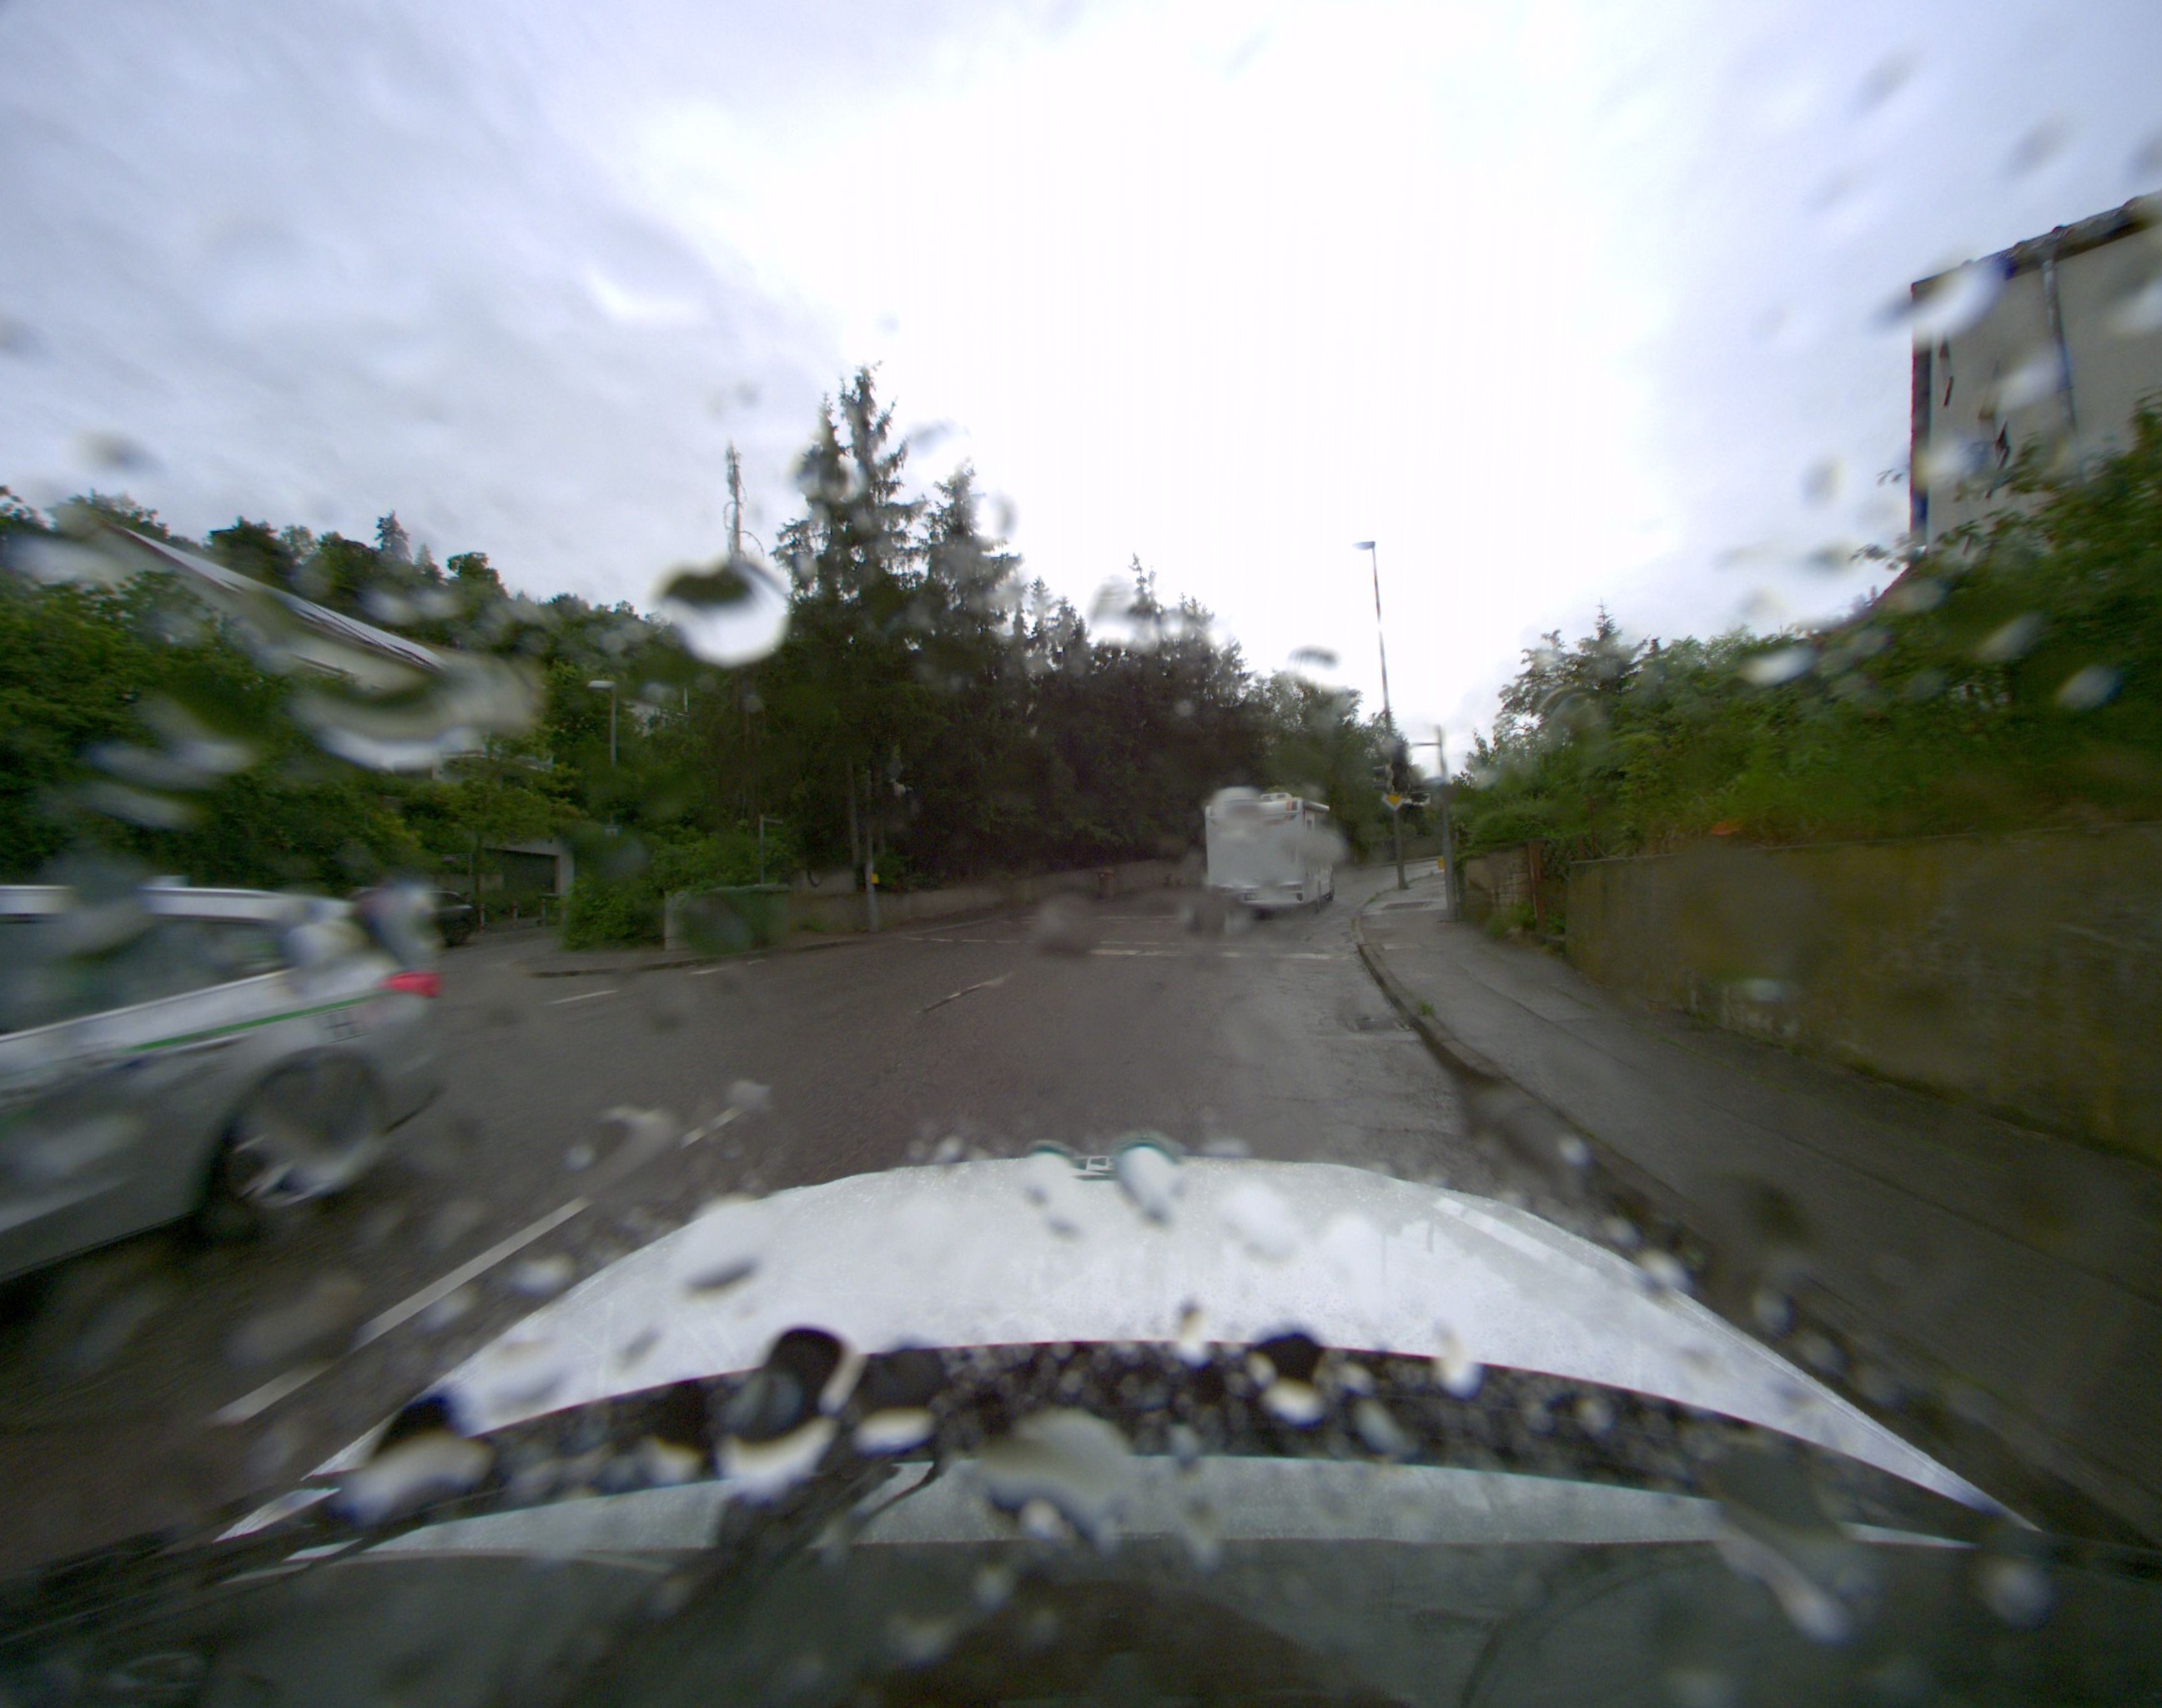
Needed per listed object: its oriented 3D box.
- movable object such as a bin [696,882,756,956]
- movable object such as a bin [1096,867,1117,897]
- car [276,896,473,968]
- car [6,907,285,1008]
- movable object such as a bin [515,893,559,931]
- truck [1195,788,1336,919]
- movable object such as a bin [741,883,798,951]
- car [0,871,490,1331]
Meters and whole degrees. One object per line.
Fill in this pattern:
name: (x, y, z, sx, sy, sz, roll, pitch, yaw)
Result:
movable object such as a bin: (-5.708, 1.025, 13.102, 0.618, 1.140, 0.672, -2, -2, 39)
movable object such as a bin: (0.843, 0.924, 26.995, 0.495, 0.979, 0.493, -1, 0, 30)
car: (-16.458, 1.744, 19.273, 1.598, 1.360, 4.107, 0, -1, -10)
car: (-15.991, 1.680, 14.225, 1.549, 1.330, 3.722, 0, -1, -20)
movable object such as a bin: (-17.914, 1.893, 26.842, 0.850, 1.198, 0.931, 0, -1, -3)
truck: (4.932, 0.041, 20.868, 2.493, 2.818, 6.234, -2, -1, 22)
movable object such as a bin: (-5.214, 1.035, 13.632, 0.553, 1.088, 0.710, -2, -2, 39)
car: (-4.186, 0.785, 2.355, 1.587, 1.413, 4.243, -1, -1, 5)
